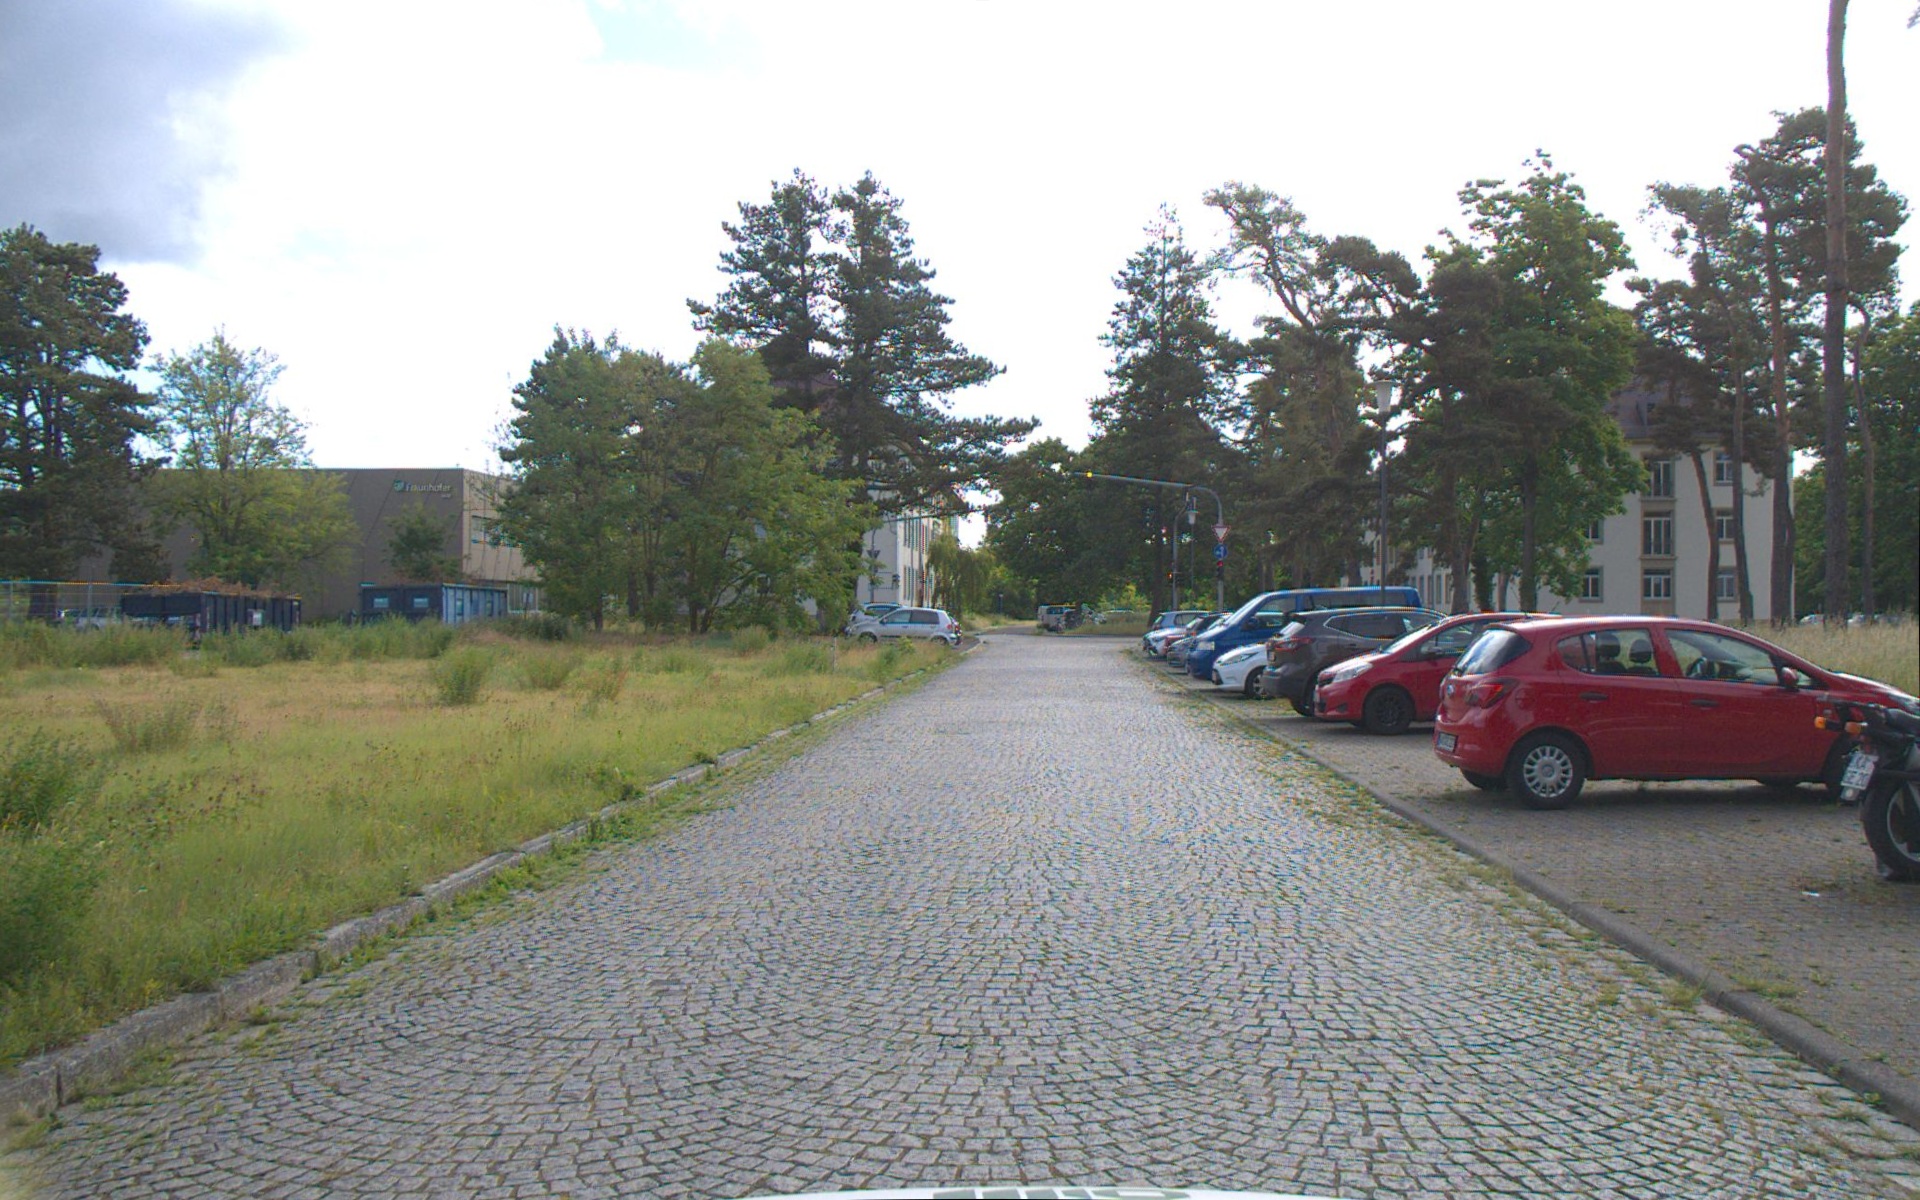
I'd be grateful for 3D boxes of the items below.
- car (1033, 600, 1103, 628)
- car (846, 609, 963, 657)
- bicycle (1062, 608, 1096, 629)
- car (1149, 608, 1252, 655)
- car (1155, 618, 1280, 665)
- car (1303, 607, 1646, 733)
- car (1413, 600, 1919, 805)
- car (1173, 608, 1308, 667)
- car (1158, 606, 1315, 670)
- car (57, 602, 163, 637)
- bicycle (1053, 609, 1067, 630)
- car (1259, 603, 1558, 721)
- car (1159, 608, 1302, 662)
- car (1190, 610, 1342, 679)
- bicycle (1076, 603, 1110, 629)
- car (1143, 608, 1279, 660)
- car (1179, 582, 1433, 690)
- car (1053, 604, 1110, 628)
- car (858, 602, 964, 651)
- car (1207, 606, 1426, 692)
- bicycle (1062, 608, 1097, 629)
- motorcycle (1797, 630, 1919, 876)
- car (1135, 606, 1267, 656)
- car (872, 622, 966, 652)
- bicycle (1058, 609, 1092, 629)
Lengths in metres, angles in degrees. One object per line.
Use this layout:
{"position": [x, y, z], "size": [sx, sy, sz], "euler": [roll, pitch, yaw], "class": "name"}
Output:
{"position": [8.025, 1.056, 123.477], "size": [4.955, 2.049, 1.997], "euler": [0, 0, -7], "class": "car"}
{"position": [-1.885, 1.120, 56.308], "size": [3.907, 1.579, 1.999], "euler": [0, 0, -3], "class": "car"}
{"position": [7.639, 1.194, 106.228], "size": [2.117, 1.290, 0.812], "euler": [0, 0, -3], "class": "bicycle"}
{"position": [8.204, 1.062, 56.544], "size": [3.321, 1.570, 1.390], "euler": [0, 0, -3], "class": "car"}
{"position": [7.239, 1.156, 46.710], "size": [3.226, 1.289, 1.663], "euler": [0, 0, -3], "class": "car"}
{"position": [6.513, 0.863, 21.246], "size": [3.903, 1.545, 1.739], "euler": [0, 0, 3], "class": "car"}
{"position": [5.842, 0.795, 13.635], "size": [3.759, 1.532, 1.738], "euler": [-1, 0, 2], "class": "car"}
{"position": [7.452, 0.977, 44.073], "size": [3.230, 1.531, 1.661], "euler": [0, 0, -8], "class": "car"}
{"position": [6.845, 0.929, 41.129], "size": [3.530, 1.533, 1.661], "euler": [0, 0, -8], "class": "car"}
{"position": [-38.879, 0.870, 75.701], "size": [3.904, 1.580, 1.809], "euler": [0, 0, 3], "class": "car"}
{"position": [6.179, 1.196, 101.951], "size": [0.793, 1.290, 1.974], "euler": [0, 0, 4], "class": "bicycle"}
{"position": [6.387, 0.862, 23.873], "size": [3.868, 1.608, 1.762], "euler": [0, 0, 1], "class": "car"}
{"position": [7.969, 1.022, 48.924], "size": [3.907, 1.570, 1.663], "euler": [0, 0, -3], "class": "car"}
{"position": [7.003, 1.006, 38.094], "size": [3.224, 1.531, 1.664], "euler": [0, 0, 1], "class": "car"}
{"position": [8.590, 1.048, 106.891], "size": [2.117, 1.644, 0.812], "euler": [0, 0, -3], "class": "bicycle"}
{"position": [7.739, 1.040, 51.179], "size": [3.907, 1.570, 1.663], "euler": [0, 0, -3], "class": "car"}
{"position": [6.784, 0.700, 32.776], "size": [4.683, 2.075, 1.738], "euler": [0, 0, 1], "class": "car"}
{"position": [8.790, 1.159, 120.152], "size": [3.907, 1.673, 1.999], "euler": [0, 0, -3], "class": "car"}
{"position": [-1.848, 0.977, 61.844], "size": [3.908, 1.780, 1.925], "euler": [0, 0, -4], "class": "car"}
{"position": [6.474, 0.879, 30.292], "size": [3.646, 1.449, 1.654], "euler": [-1, 0, 0], "class": "car"}
{"position": [7.611, 1.184, 105.641], "size": [2.117, 1.290, 0.812], "euler": [0, 0, -3], "class": "bicycle"}
{"position": [5.899, 0.818, 9.170], "size": [2.219, 1.297, 0.605], "euler": [0, -1, -2], "class": "motorcycle"}
{"position": [7.841, 1.002, 53.988], "size": [4.040, 1.570, 1.663], "euler": [0, 0, -3], "class": "car"}
{"position": [-1.610, 1.427, 64.048], "size": [3.597, 1.113, 1.645], "euler": [0, 0, -3], "class": "car"}
{"position": [7.474, 1.209, 107.452], "size": [2.117, 1.290, 0.812], "euler": [0, 0, -3], "class": "bicycle"}
